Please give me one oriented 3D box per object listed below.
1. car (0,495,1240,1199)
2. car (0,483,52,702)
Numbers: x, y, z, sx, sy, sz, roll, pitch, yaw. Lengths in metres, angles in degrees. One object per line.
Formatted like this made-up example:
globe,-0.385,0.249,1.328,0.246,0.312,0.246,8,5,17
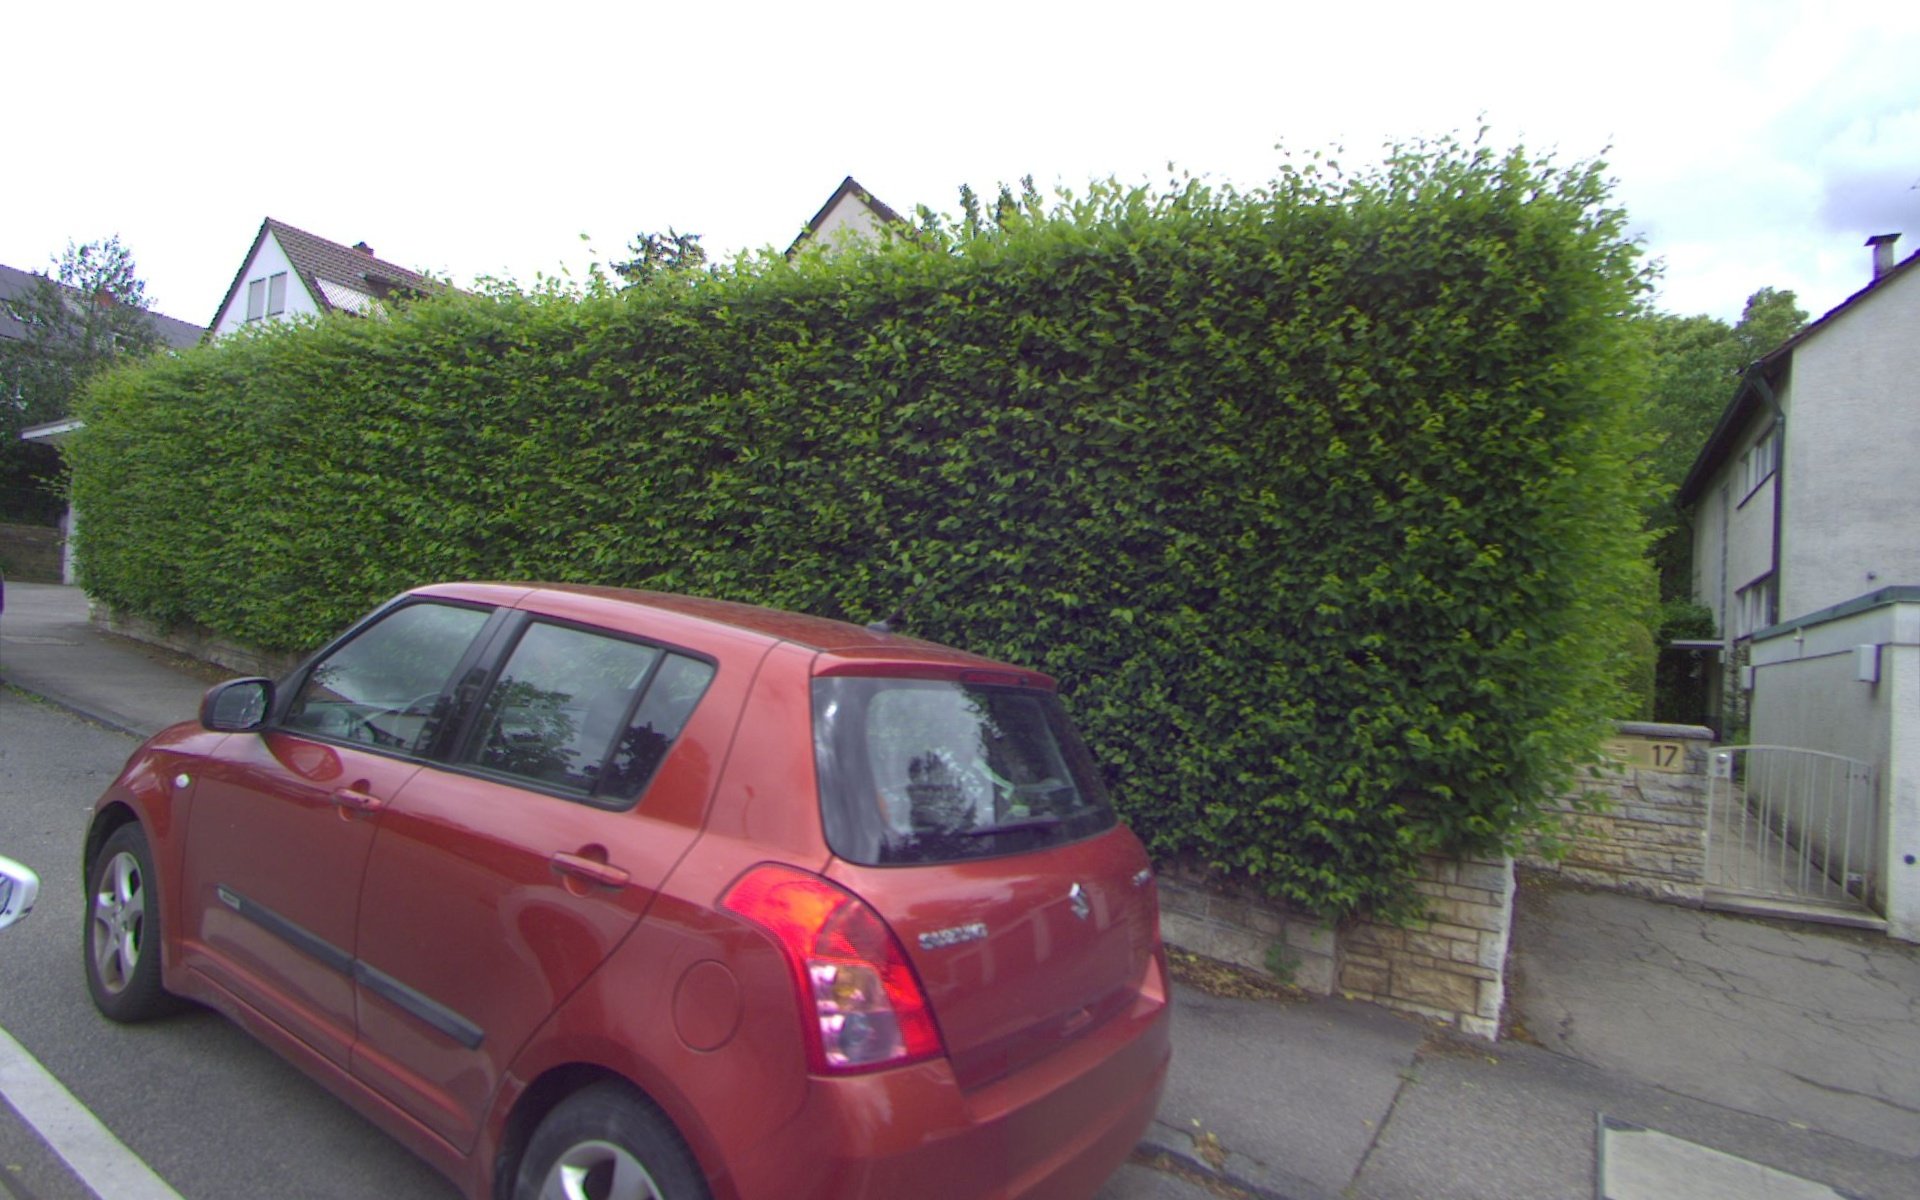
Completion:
car,-1.267,0.649,3.170,3.696,1.526,1.663,7,-1,32
car,-9.491,-0.335,8.169,4.441,1.636,1.997,6,-3,34
